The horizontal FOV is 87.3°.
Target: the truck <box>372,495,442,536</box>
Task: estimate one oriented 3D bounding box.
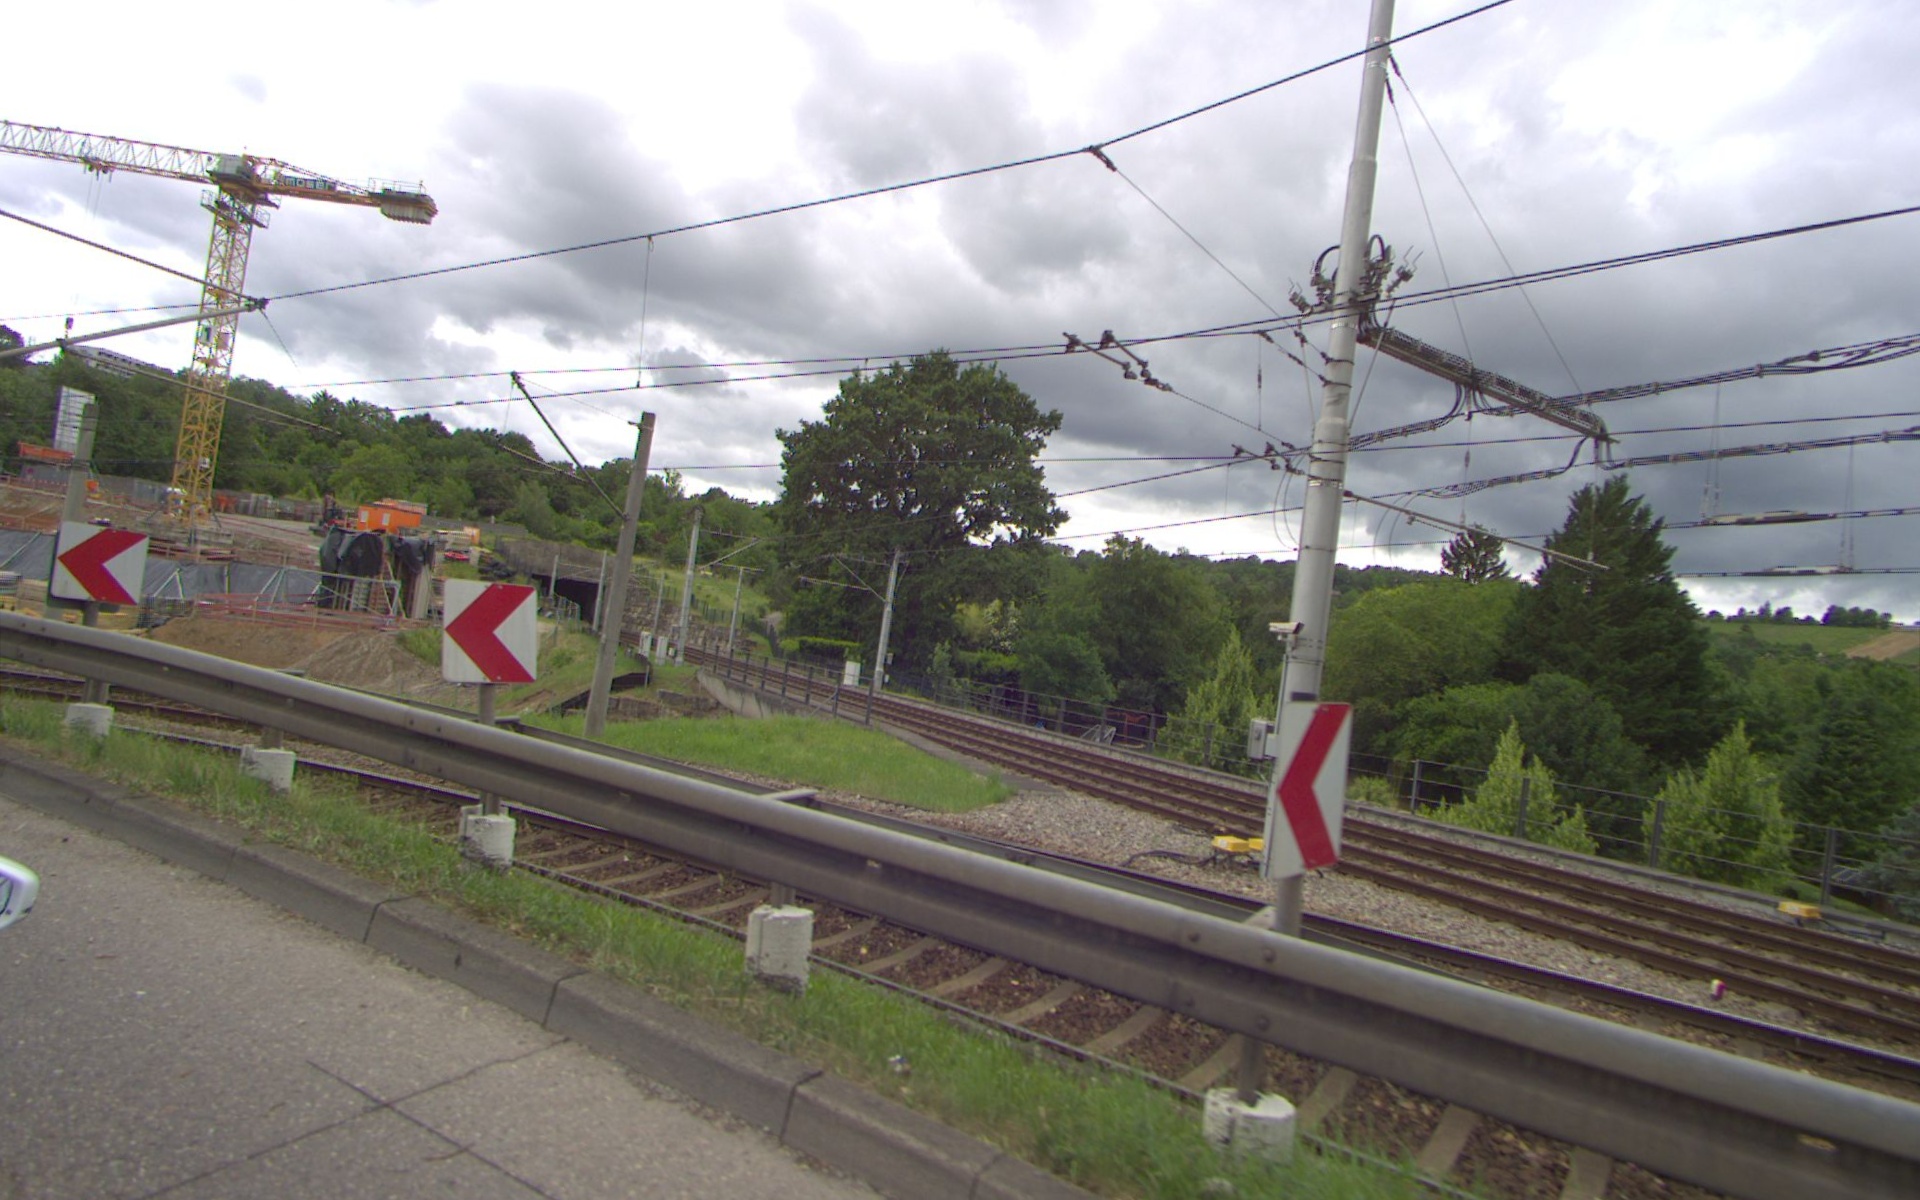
[{"bbox_3d":[-78.349,-11.936,142.868,3.061,4.269,9.803,8,-1,7],"label":"truck"}]

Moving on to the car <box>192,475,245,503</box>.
[{"bbox_3d":[-77.732,-11.599,105.502,1.962,2.037,4.005,7,-2,12],"label":"car"}]

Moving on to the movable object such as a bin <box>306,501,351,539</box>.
[{"bbox_3d":[-58.925,-7.447,93.870,2.747,3.113,1.843,7,-1,9],"label":"movable object such as a bin"}]
